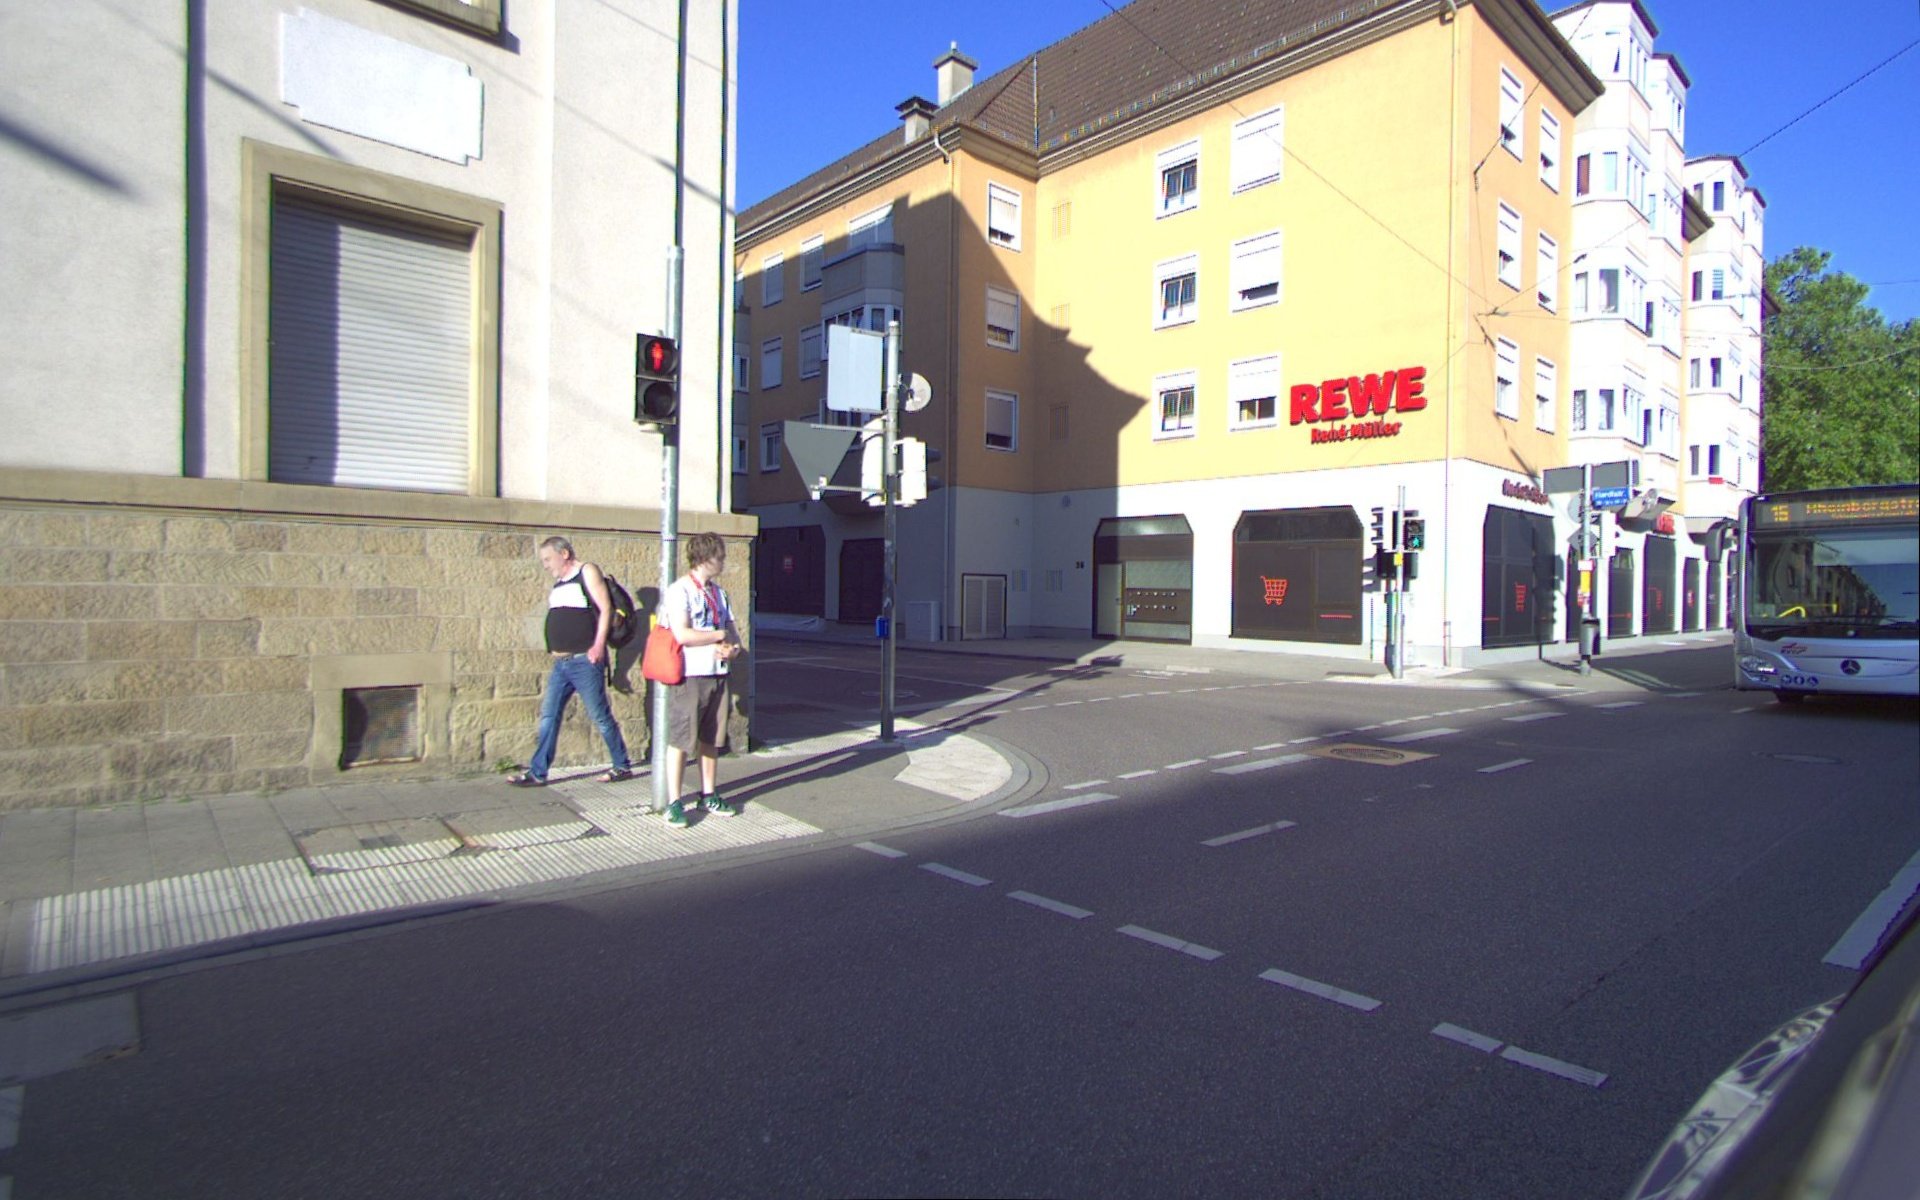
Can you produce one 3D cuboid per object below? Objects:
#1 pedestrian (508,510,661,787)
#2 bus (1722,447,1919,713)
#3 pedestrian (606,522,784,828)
[{"bbox_3d":[-2.600,0.306,7.019,0.811,1.780,0.630,-1,0,-41],"label":"pedestrian"},{"bbox_3d":[17.742,-0.321,18.244,17.430,3.189,2.771,-1,1,-41],"label":"bus"},{"bbox_3d":[-1.700,0.418,6.472,0.809,1.784,0.837,-1,2,-41],"label":"pedestrian"}]
